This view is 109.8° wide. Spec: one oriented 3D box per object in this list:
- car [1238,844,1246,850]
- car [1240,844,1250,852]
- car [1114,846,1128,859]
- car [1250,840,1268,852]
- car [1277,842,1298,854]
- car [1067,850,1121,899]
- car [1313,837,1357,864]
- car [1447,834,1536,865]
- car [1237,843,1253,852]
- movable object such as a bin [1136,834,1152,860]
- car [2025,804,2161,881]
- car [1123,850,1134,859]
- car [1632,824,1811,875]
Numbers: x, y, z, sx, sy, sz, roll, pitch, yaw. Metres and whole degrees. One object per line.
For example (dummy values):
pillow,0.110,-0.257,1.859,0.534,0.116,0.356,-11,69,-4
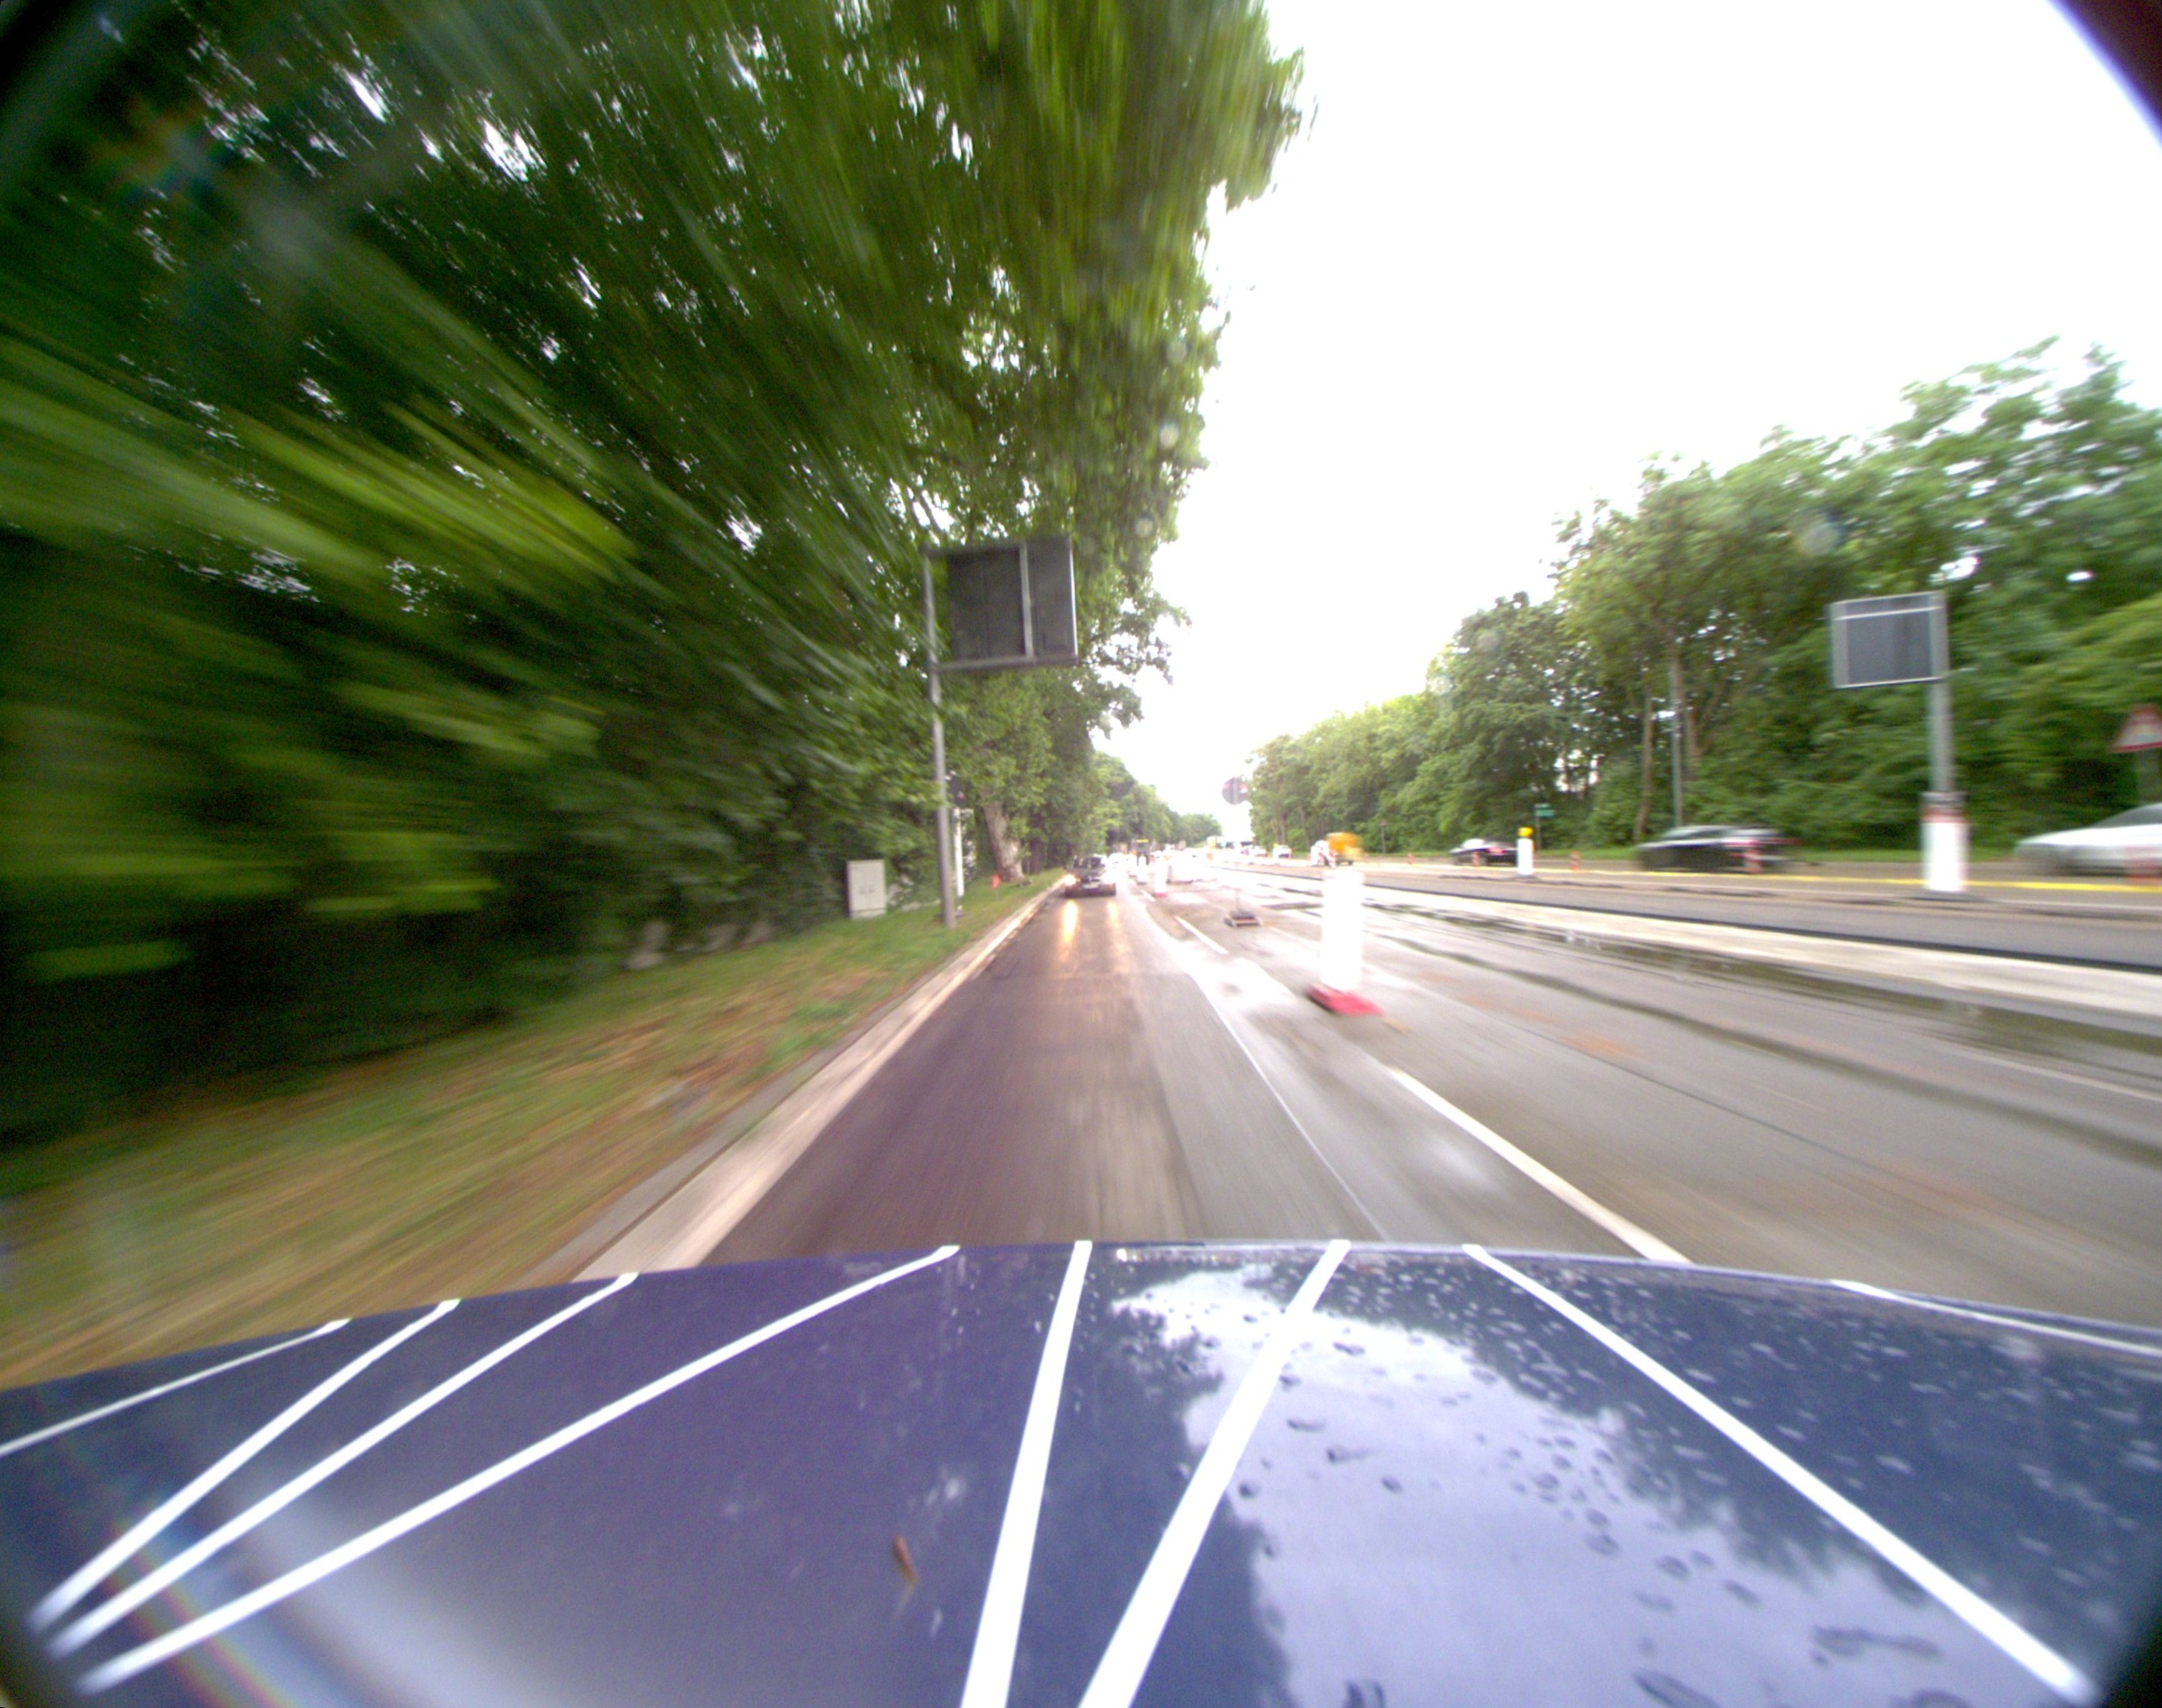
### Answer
car,40.165,-1.660,189.684,1.787,1.418,4.473,-2,0,12
car,34.791,-1.282,161.212,1.787,1.444,4.685,-2,0,10
car,5.689,-0.225,107.881,1.707,1.681,4.473,-2,1,6
car,28.124,-1.254,119.995,1.781,1.741,4.380,-2,0,1
car,25.684,-0.746,94.510,1.670,1.532,4.158,0,0,2
car,0.388,0.652,26.532,1.701,1.477,3.999,-2,1,-1
car,16.425,-0.234,49.258,1.793,1.575,3.862,-3,0,5
car,19.207,-0.213,35.817,1.822,1.347,4.390,-1,0,0
car,29.032,-1.140,134.686,1.781,1.654,4.915,-1,0,1
movable object such as a bin,7.530,-0.789,90.642,1.807,2.968,5.247,-2,0,6
car,21.008,-0.255,13.848,1.822,1.411,4.602,-4,0,0
car,8.779,0.090,141.162,1.706,1.681,4.474,-2,1,7
car,18.962,-0.126,22.794,1.822,1.347,4.204,-1,0,0
